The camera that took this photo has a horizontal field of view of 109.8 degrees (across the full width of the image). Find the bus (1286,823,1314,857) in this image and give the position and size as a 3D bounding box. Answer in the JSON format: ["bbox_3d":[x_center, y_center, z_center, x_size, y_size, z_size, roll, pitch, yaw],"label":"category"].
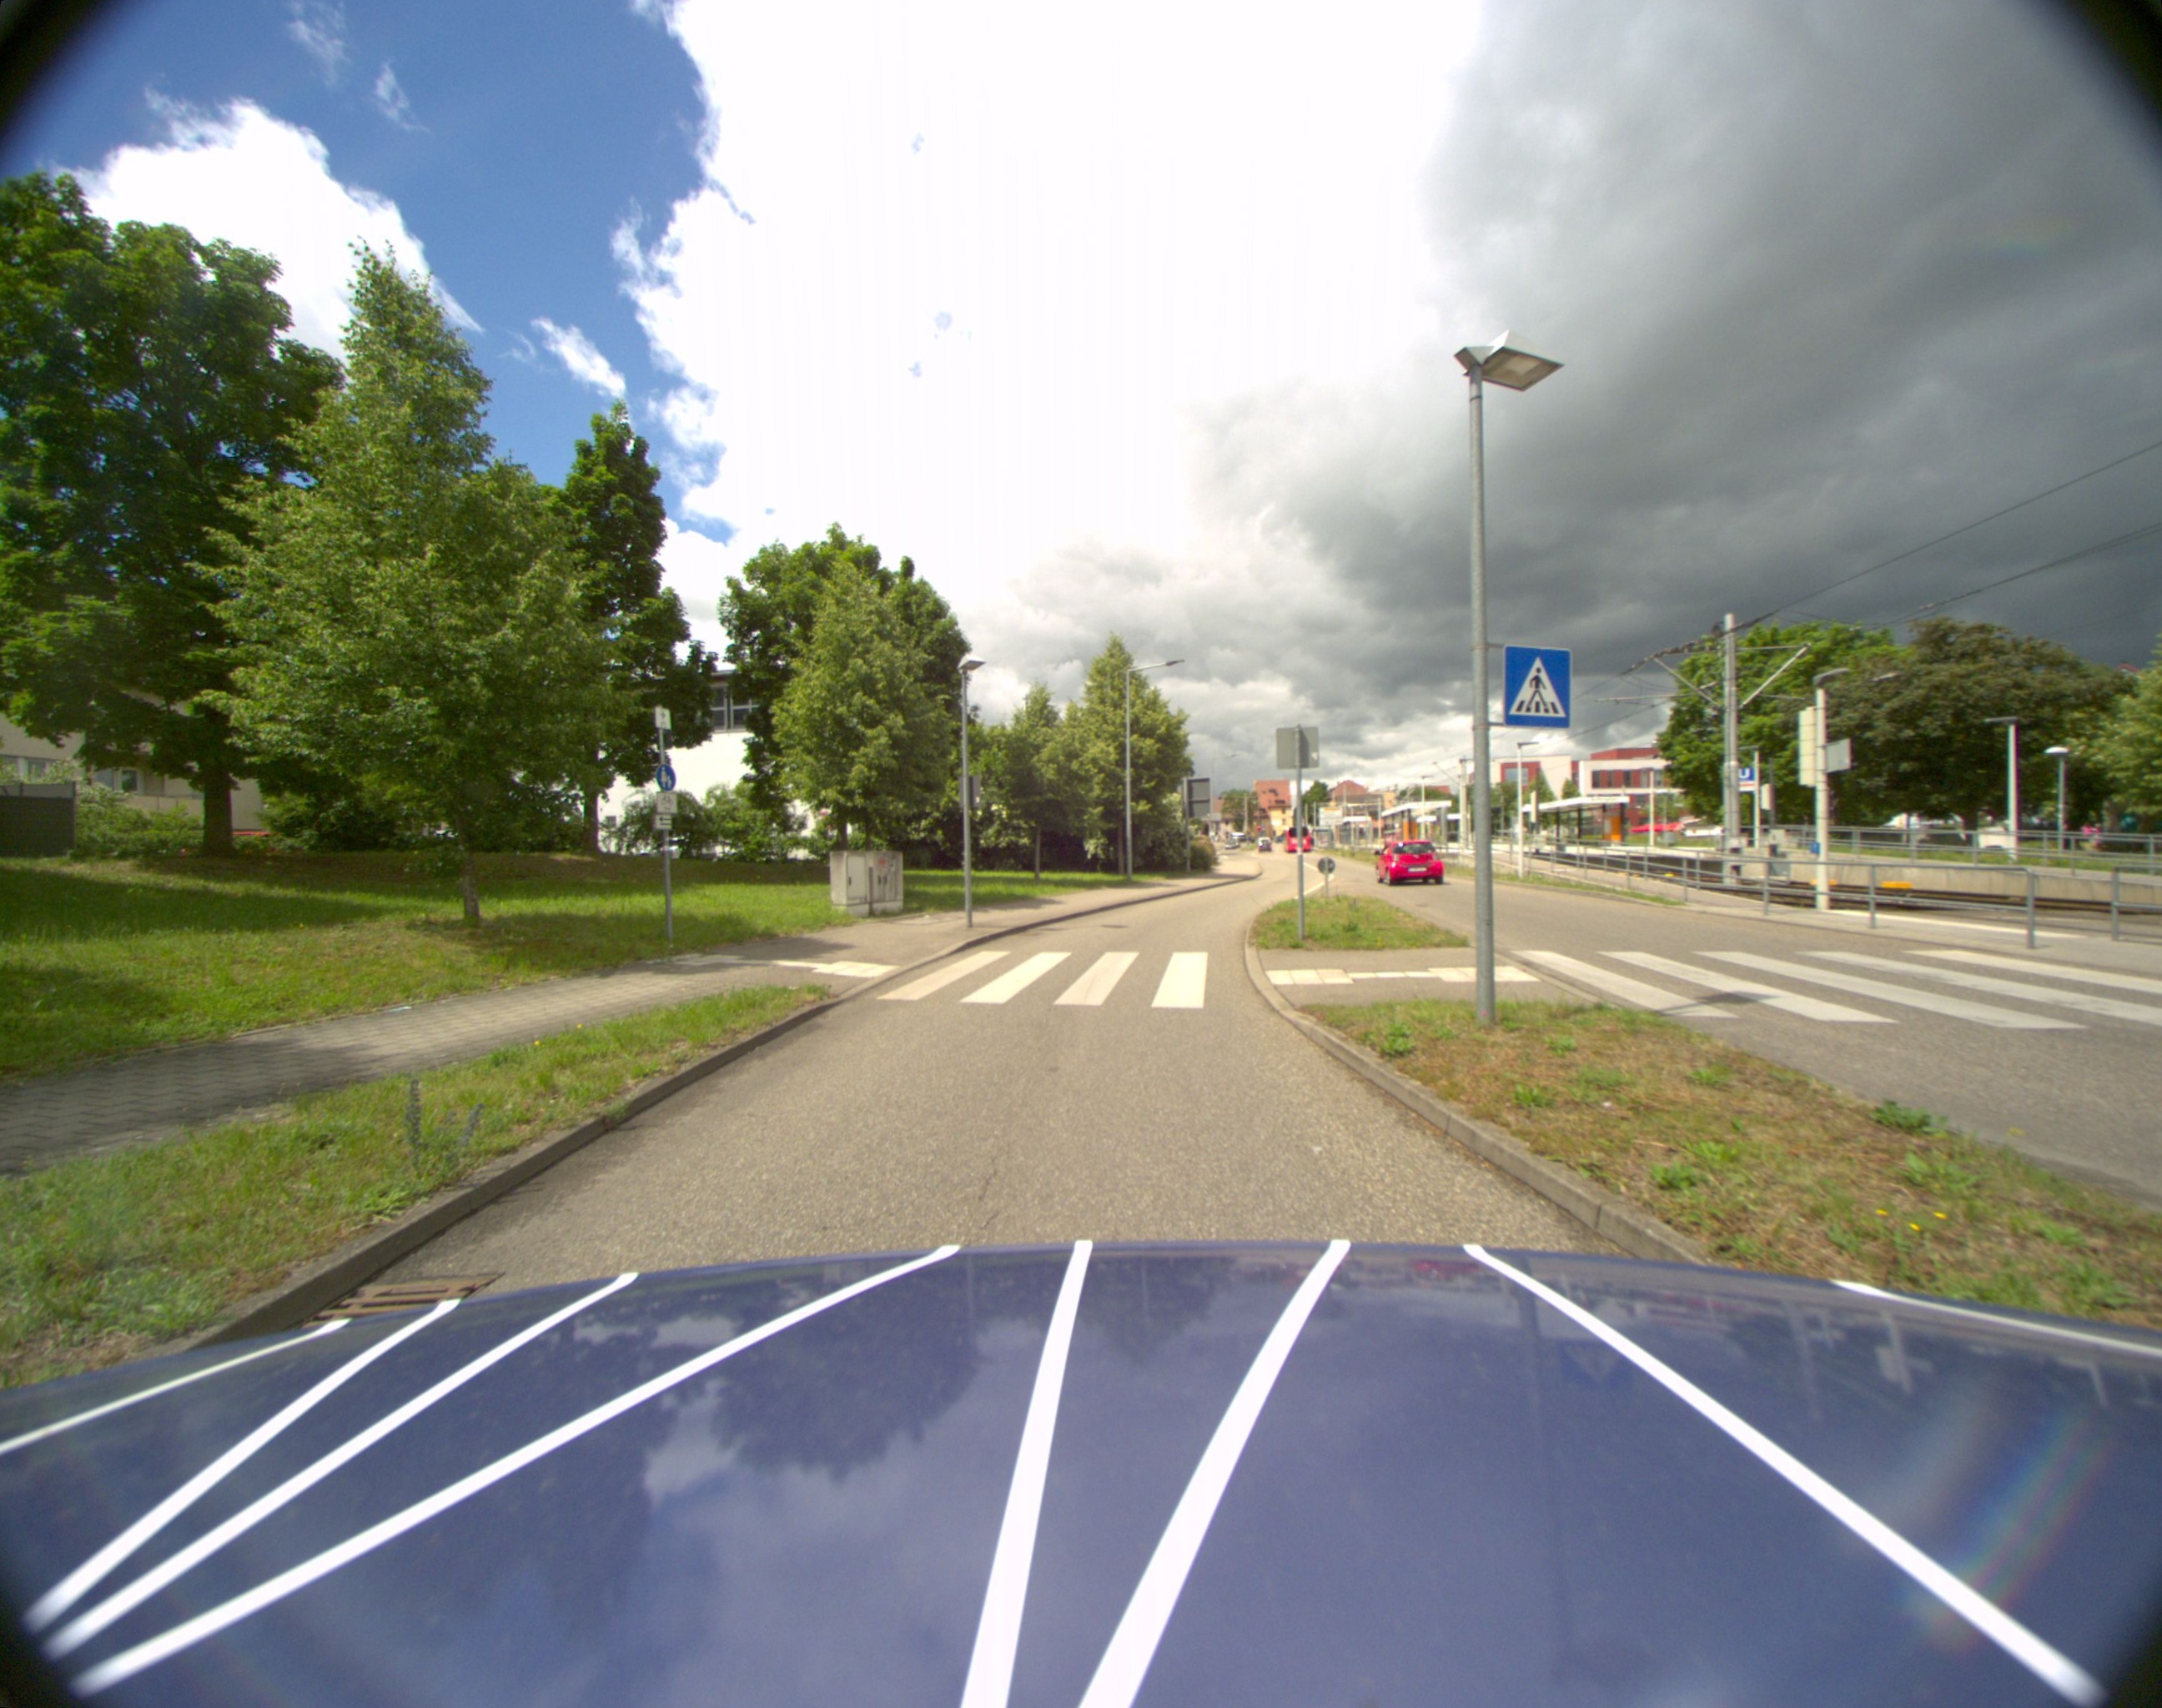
[{"bbox_3d":[25.917,-1.599,90.361,2.920,3.864,10.390,-1,0,15],"label":"bus"}]

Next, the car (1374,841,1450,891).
[{"bbox_3d":[11.020,0.344,25.494,1.736,1.501,3.518,-2,1,14],"label":"car"}]

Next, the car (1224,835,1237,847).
[{"bbox_3d":[25.243,-2.171,127.900,1.996,1.849,4.004,-1,0,13],"label":"car"}]

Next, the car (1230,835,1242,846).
[{"bbox_3d":[27.059,-2.366,132.748,1.996,1.849,4.004,-1,0,13],"label":"car"}]

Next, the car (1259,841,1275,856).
[{"bbox_3d":[23.958,-0.700,97.872,1.848,1.916,3.781,-1,0,13],"label":"car"}]
